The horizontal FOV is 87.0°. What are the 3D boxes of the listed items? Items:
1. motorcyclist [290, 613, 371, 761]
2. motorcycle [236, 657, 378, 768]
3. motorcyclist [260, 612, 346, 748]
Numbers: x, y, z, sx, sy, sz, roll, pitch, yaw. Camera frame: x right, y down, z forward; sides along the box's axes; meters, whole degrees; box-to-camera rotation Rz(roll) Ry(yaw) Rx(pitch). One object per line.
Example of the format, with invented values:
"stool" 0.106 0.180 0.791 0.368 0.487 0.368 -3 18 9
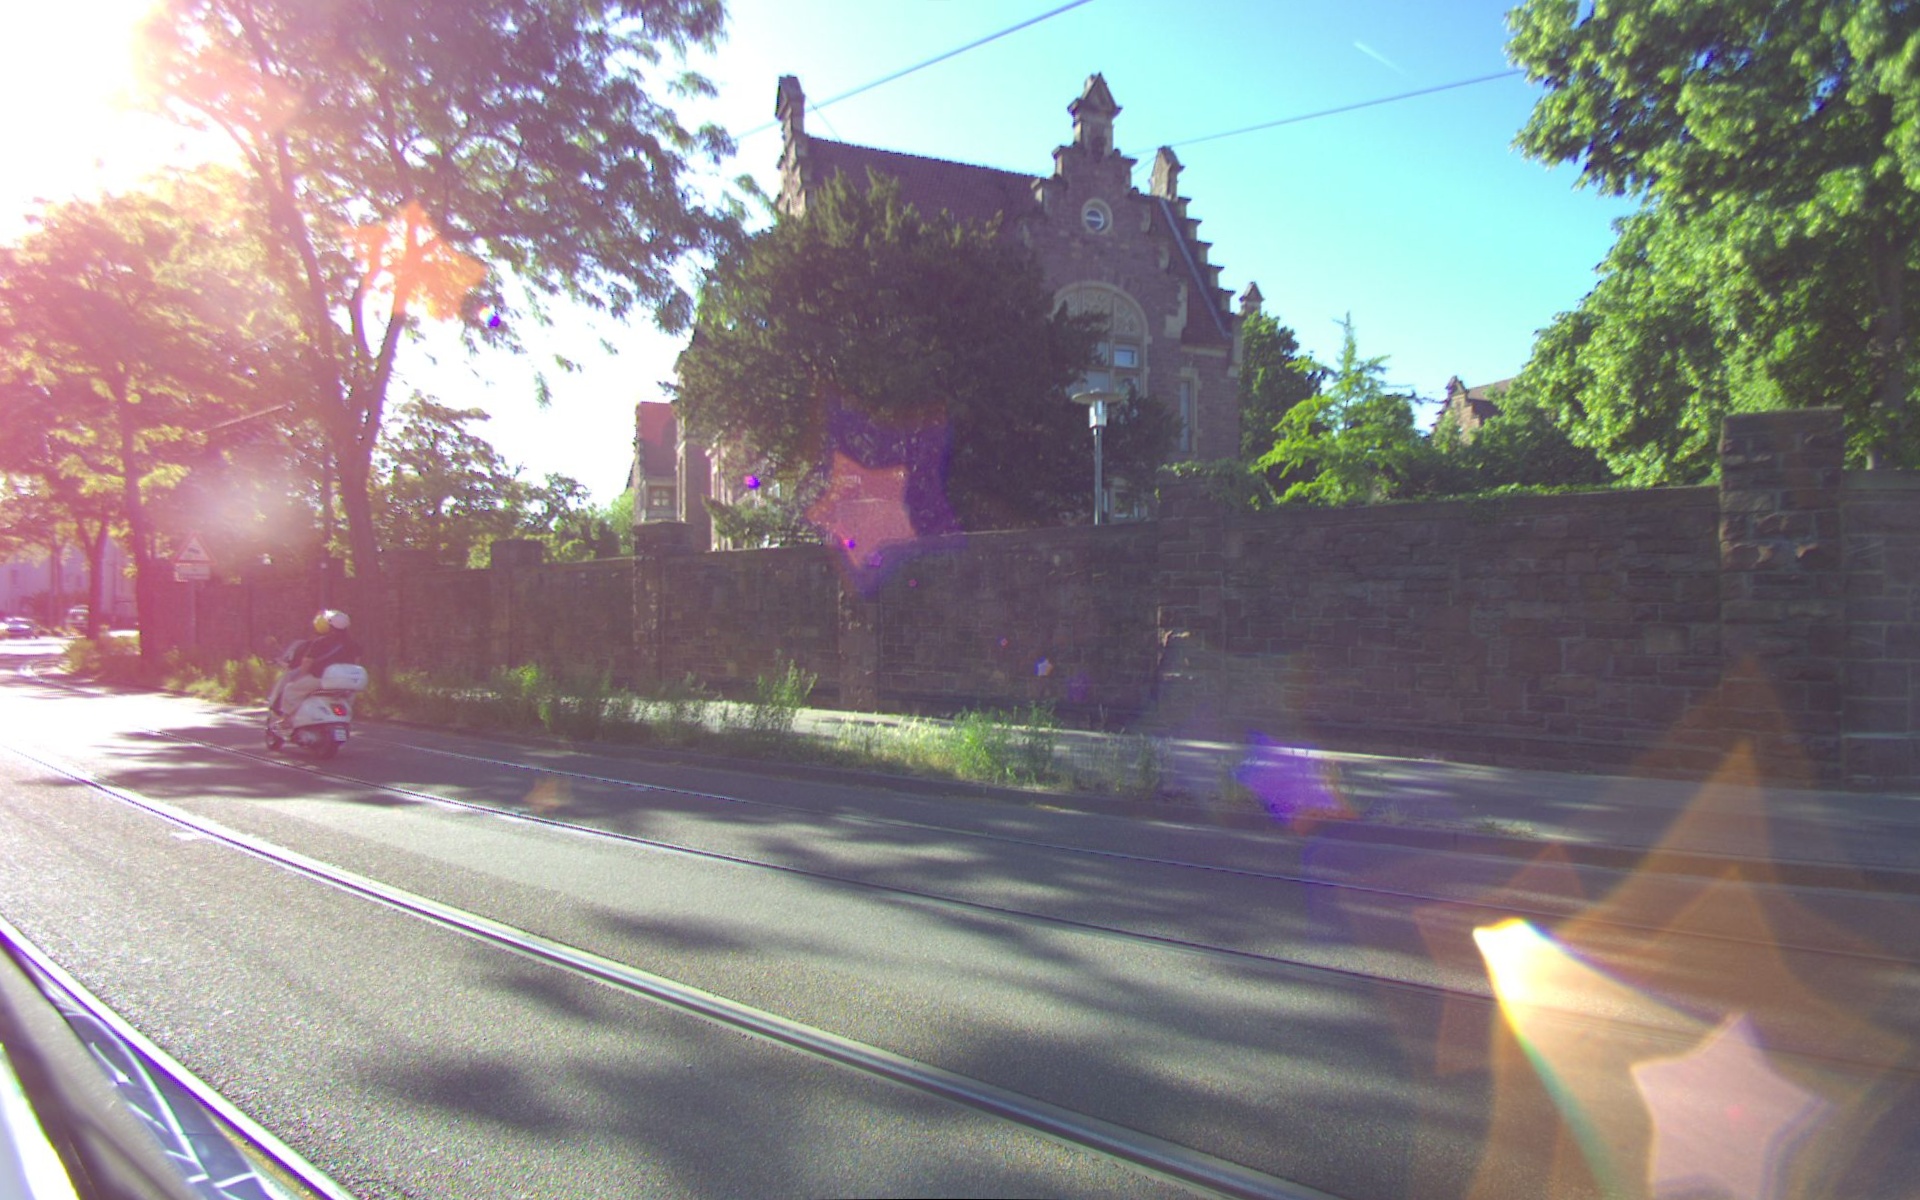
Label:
"motorcyclist" -6.771 0.910 10.888 0.464 1.527 0.602 -1 -1 32
"motorcycle" -7.244 1.203 11.196 1.850 1.101 0.604 -1 -1 32
"motorcyclist" -7.269 0.858 11.214 0.445 1.451 0.678 -1 -1 31
